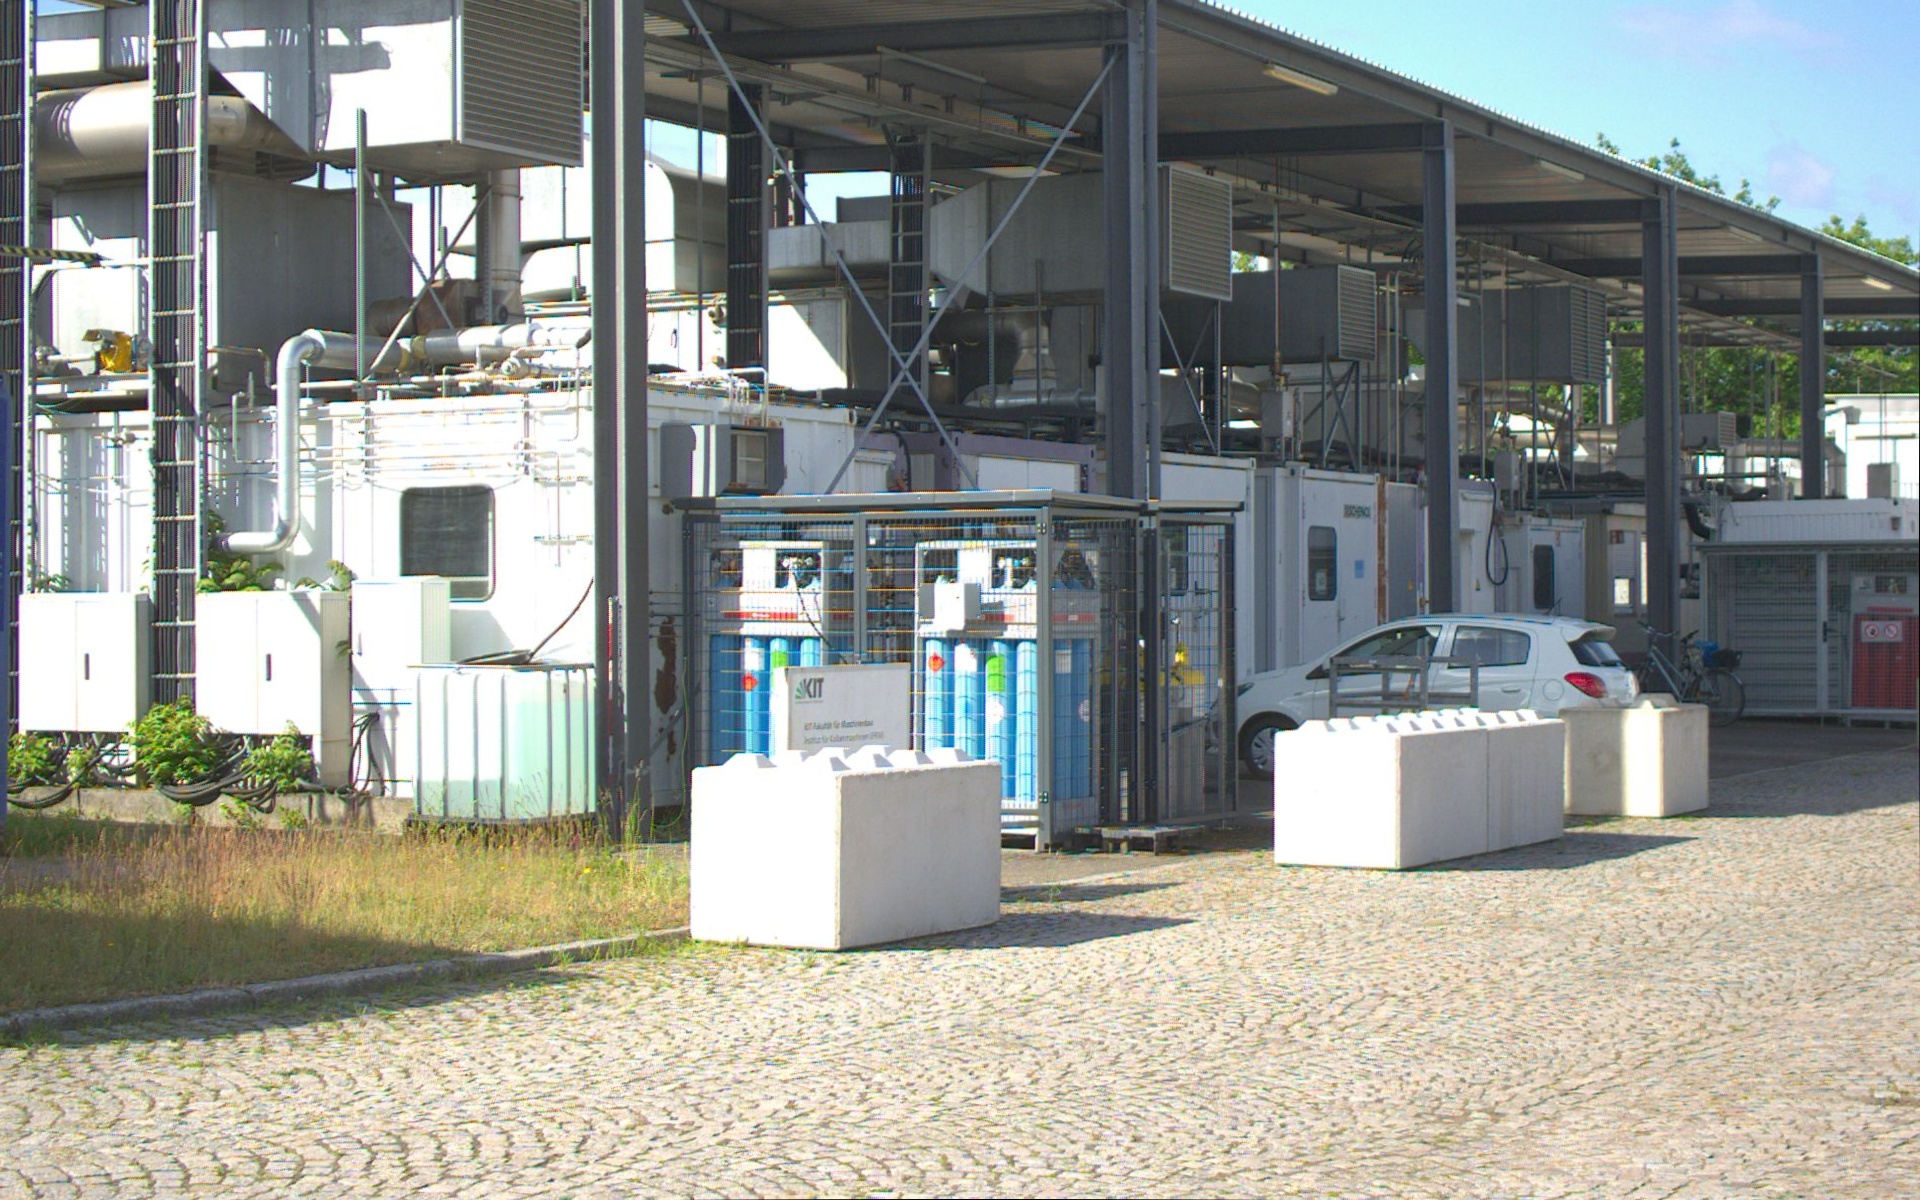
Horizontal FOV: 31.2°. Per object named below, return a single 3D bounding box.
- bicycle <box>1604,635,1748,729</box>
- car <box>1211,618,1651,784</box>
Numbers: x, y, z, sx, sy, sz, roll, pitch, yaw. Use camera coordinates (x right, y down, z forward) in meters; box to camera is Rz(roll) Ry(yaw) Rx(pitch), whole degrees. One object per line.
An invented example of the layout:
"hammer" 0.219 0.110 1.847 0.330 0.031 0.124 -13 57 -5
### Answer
"bicycle" 8.862 1.006 42.573 1.668 1.133 0.485 0 -1 27
"car" 4.089 0.842 29.859 3.466 1.371 1.609 0 0 25
